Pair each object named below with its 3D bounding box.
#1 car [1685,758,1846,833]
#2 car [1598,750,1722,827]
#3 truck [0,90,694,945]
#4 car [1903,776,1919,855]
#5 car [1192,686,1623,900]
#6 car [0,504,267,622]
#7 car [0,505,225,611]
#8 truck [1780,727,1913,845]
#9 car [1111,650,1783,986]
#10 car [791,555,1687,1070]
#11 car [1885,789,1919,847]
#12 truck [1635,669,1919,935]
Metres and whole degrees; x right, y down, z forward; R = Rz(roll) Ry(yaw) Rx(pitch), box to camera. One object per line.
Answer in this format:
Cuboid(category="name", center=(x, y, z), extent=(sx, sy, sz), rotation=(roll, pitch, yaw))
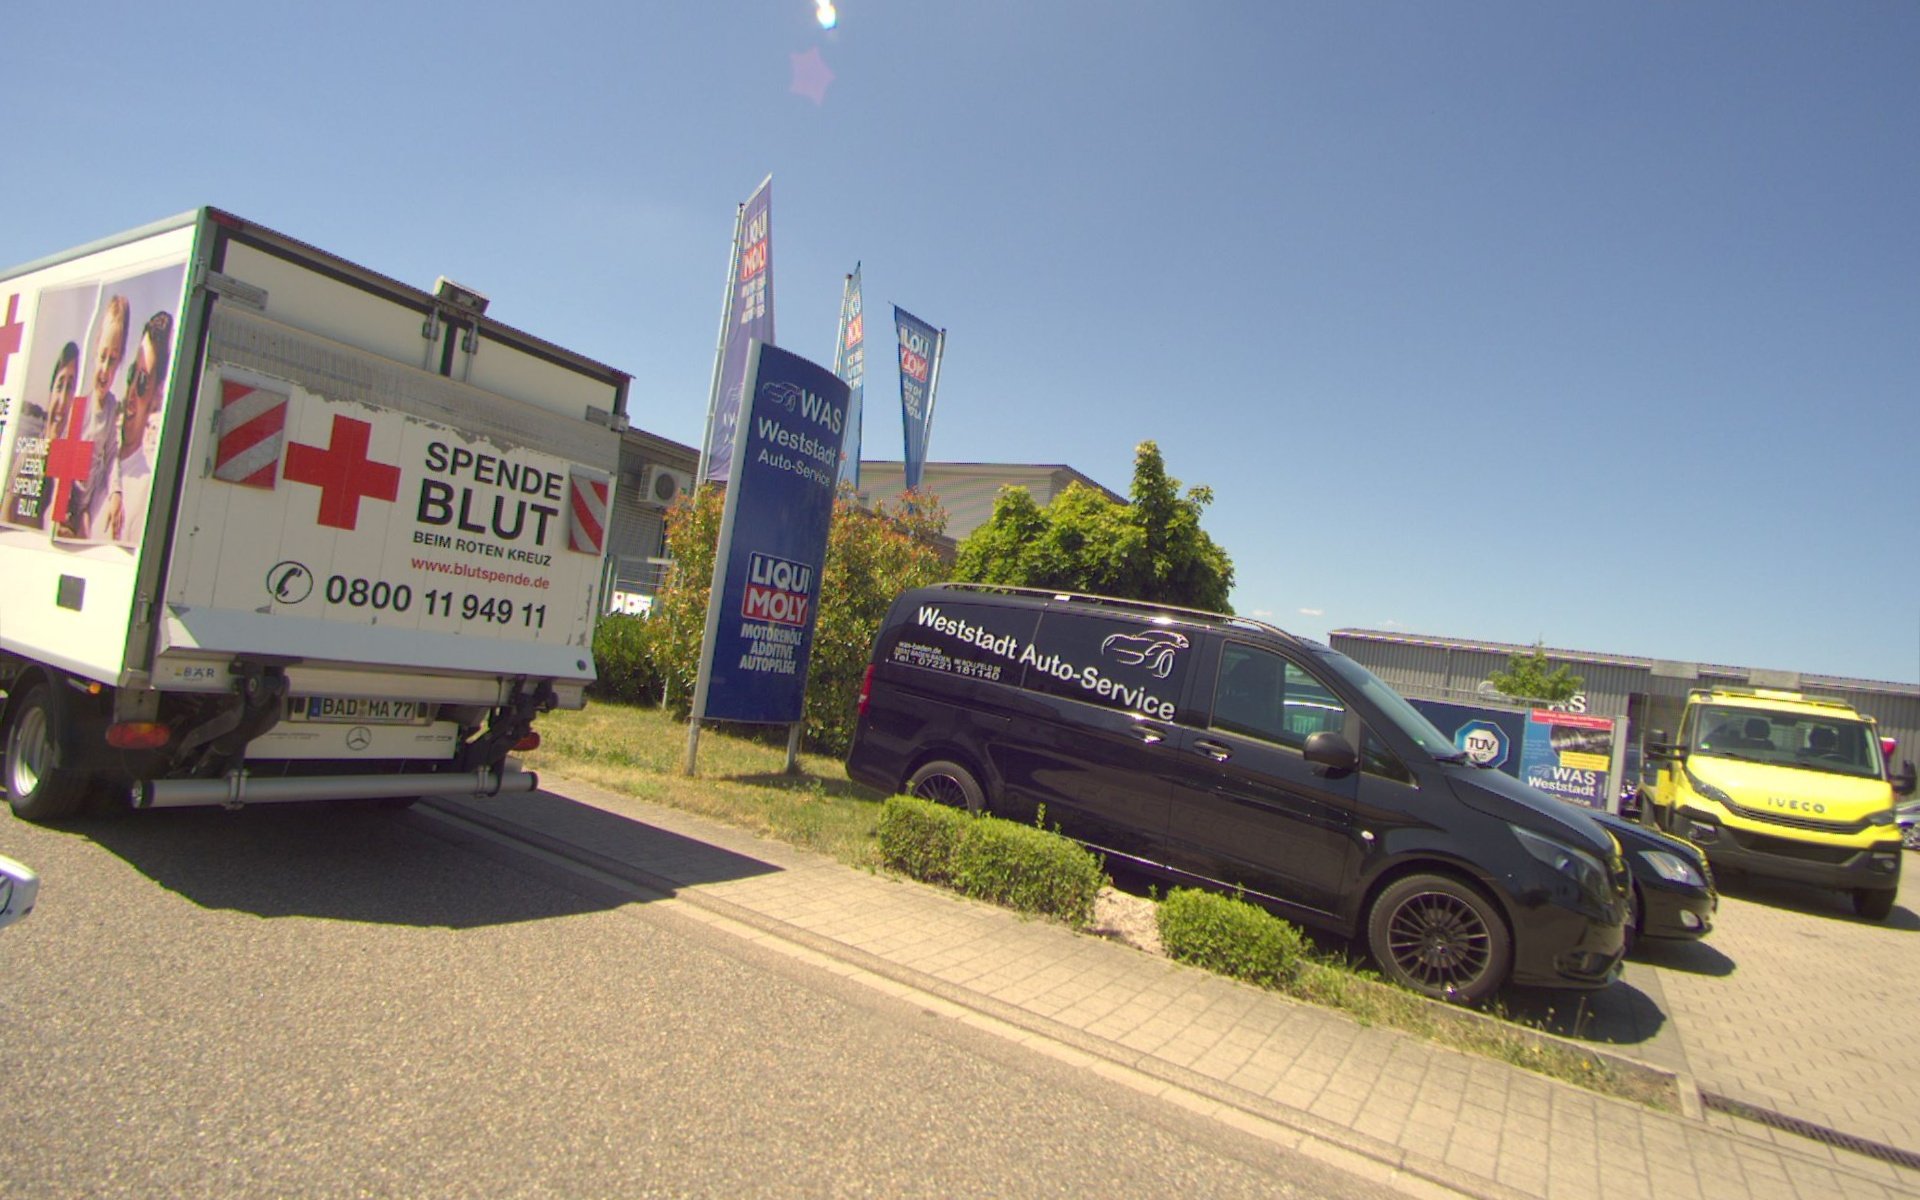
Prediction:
Cuboid(category="car", center=(24.118, 5.843, 30.160), extent=(3.941, 1.512, 1.719), rotation=(10, -4, -15))
Cuboid(category="car", center=(17.023, 4.531, 24.643), extent=(1.692, 1.432, 3.921), rotation=(6, -5, 25))
Cuboid(category="truck", center=(-5.222, -0.479, 6.688), extent=(6.772, 3.241, 2.462), rotation=(6, -3, 34))
Cuboid(category="car", center=(24.192, 5.226, 22.709), extent=(3.868, 1.818, 1.721), rotation=(6, -4, 33))
Cuboid(category="car", center=(4.962, 2.030, 11.378), extent=(4.048, 1.385, 1.806), rotation=(8, -2, 33))
Cuboid(category="car", center=(-15.391, -0.647, 18.603), extent=(1.882, 1.558, 3.699), rotation=(6, -3, 33))
Cuboid(category="car", center=(-17.516, -0.865, 19.934), extent=(1.882, 1.558, 4.287), rotation=(6, -3, 33))
Cuboid(category="truck", center=(29.802, 6.237, 34.066), extent=(2.320, 3.277, 6.267), rotation=(6, -5, 34))
Cuboid(category="car", center=(3.855, 1.589, 8.574), extent=(4.515, 1.553, 1.998), rotation=(8, -2, 33))
Cuboid(category="car", center=(1.585, 1.034, 6.928), extent=(5.250, 2.036, 1.998), rotation=(6, -3, 33))
Cuboid(category="car", center=(25.571, 5.687, 24.821), extent=(3.697, 1.351, 1.721), rotation=(6, -5, 33))
Cuboid(category="truck", center=(10.326, 2.389, 13.112), extent=(2.145, 2.396, 5.945), rotation=(6, -3, 33))
